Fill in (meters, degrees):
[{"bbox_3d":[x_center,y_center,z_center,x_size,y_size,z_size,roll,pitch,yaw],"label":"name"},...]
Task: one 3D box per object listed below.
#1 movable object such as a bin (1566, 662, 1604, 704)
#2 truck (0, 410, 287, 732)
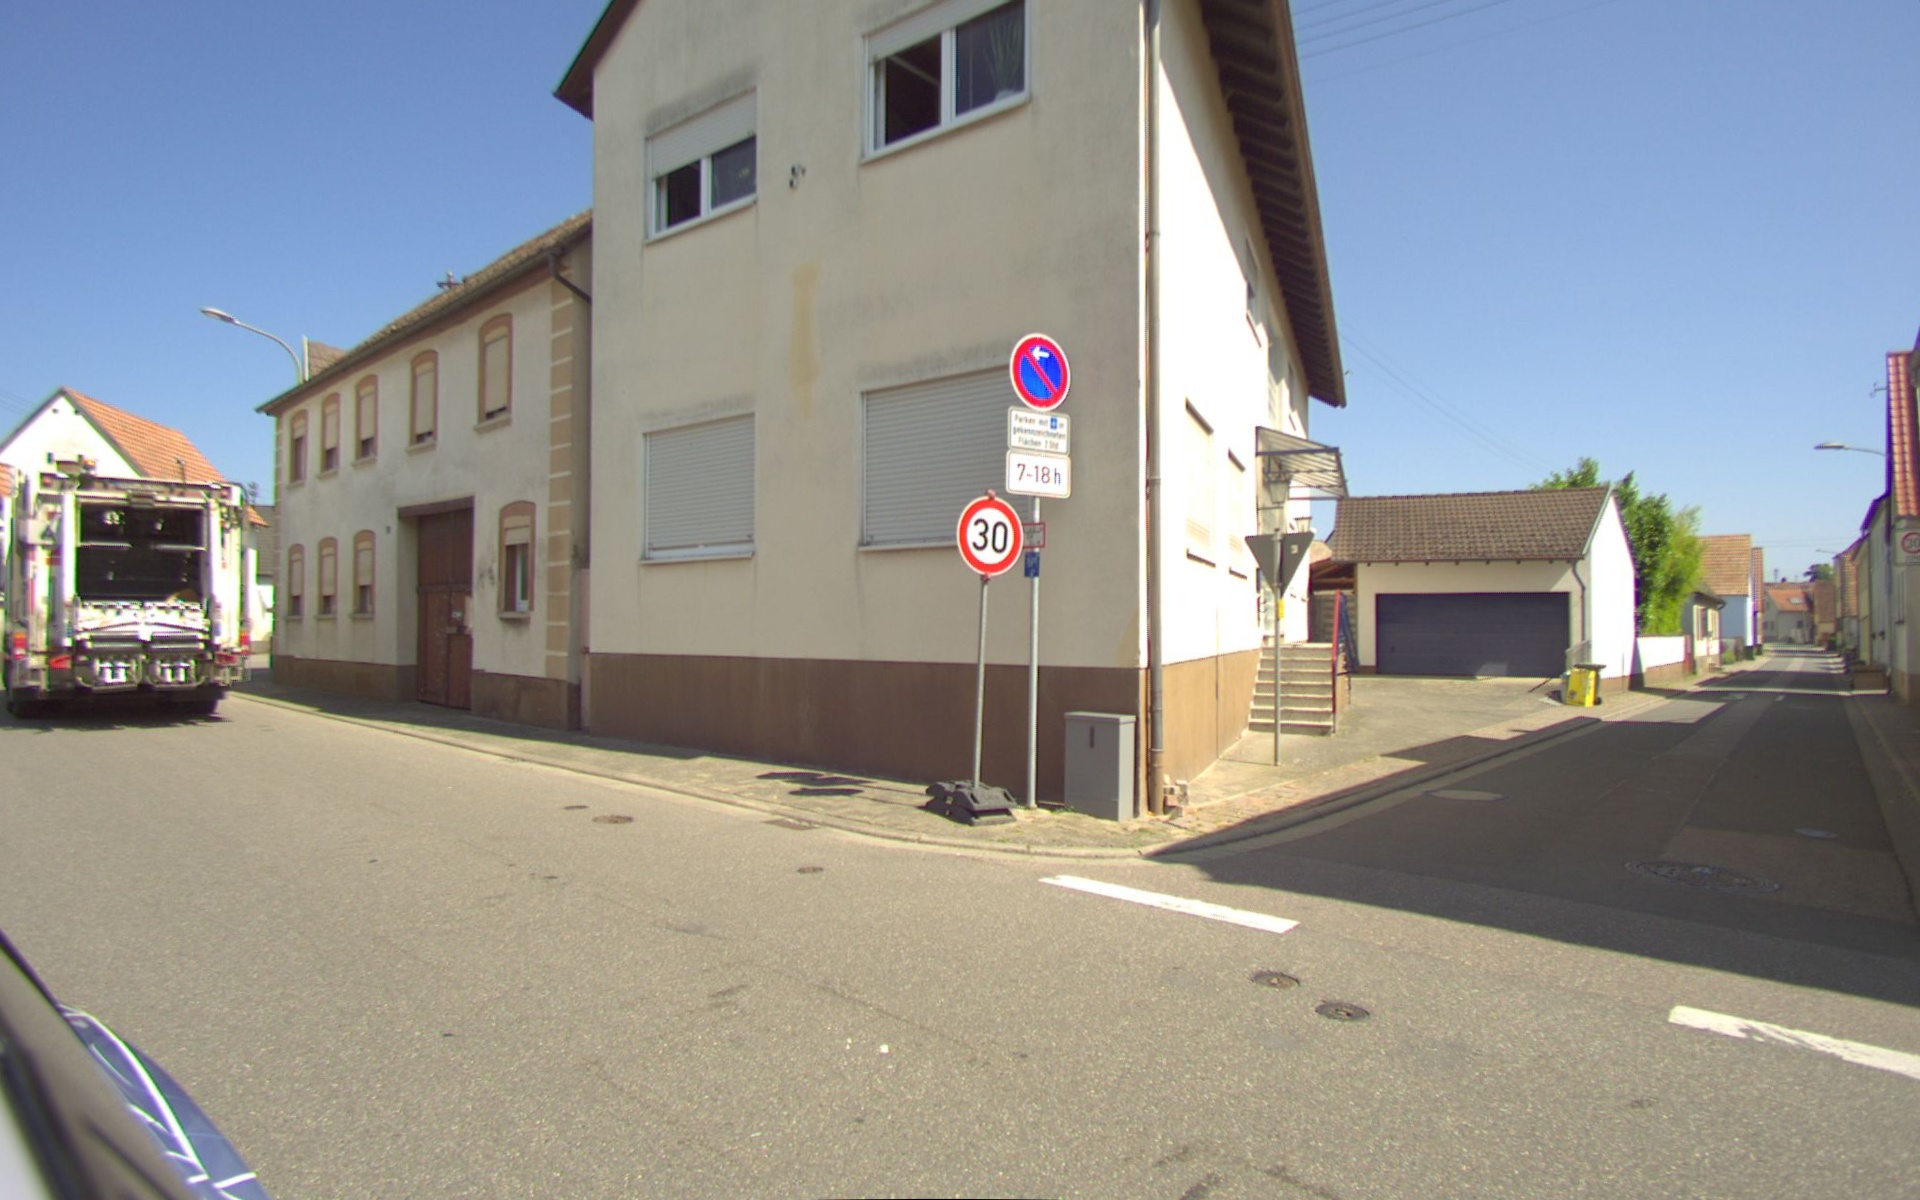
[{"bbox_3d":[13.737,1.814,22.242,0.584,0.850,0.632,2,0,41],"label":"movable object such as a bin"},{"bbox_3d":[-14.017,-0.225,16.686,10.874,3.779,2.665,-1,-3,45],"label":"truck"}]
